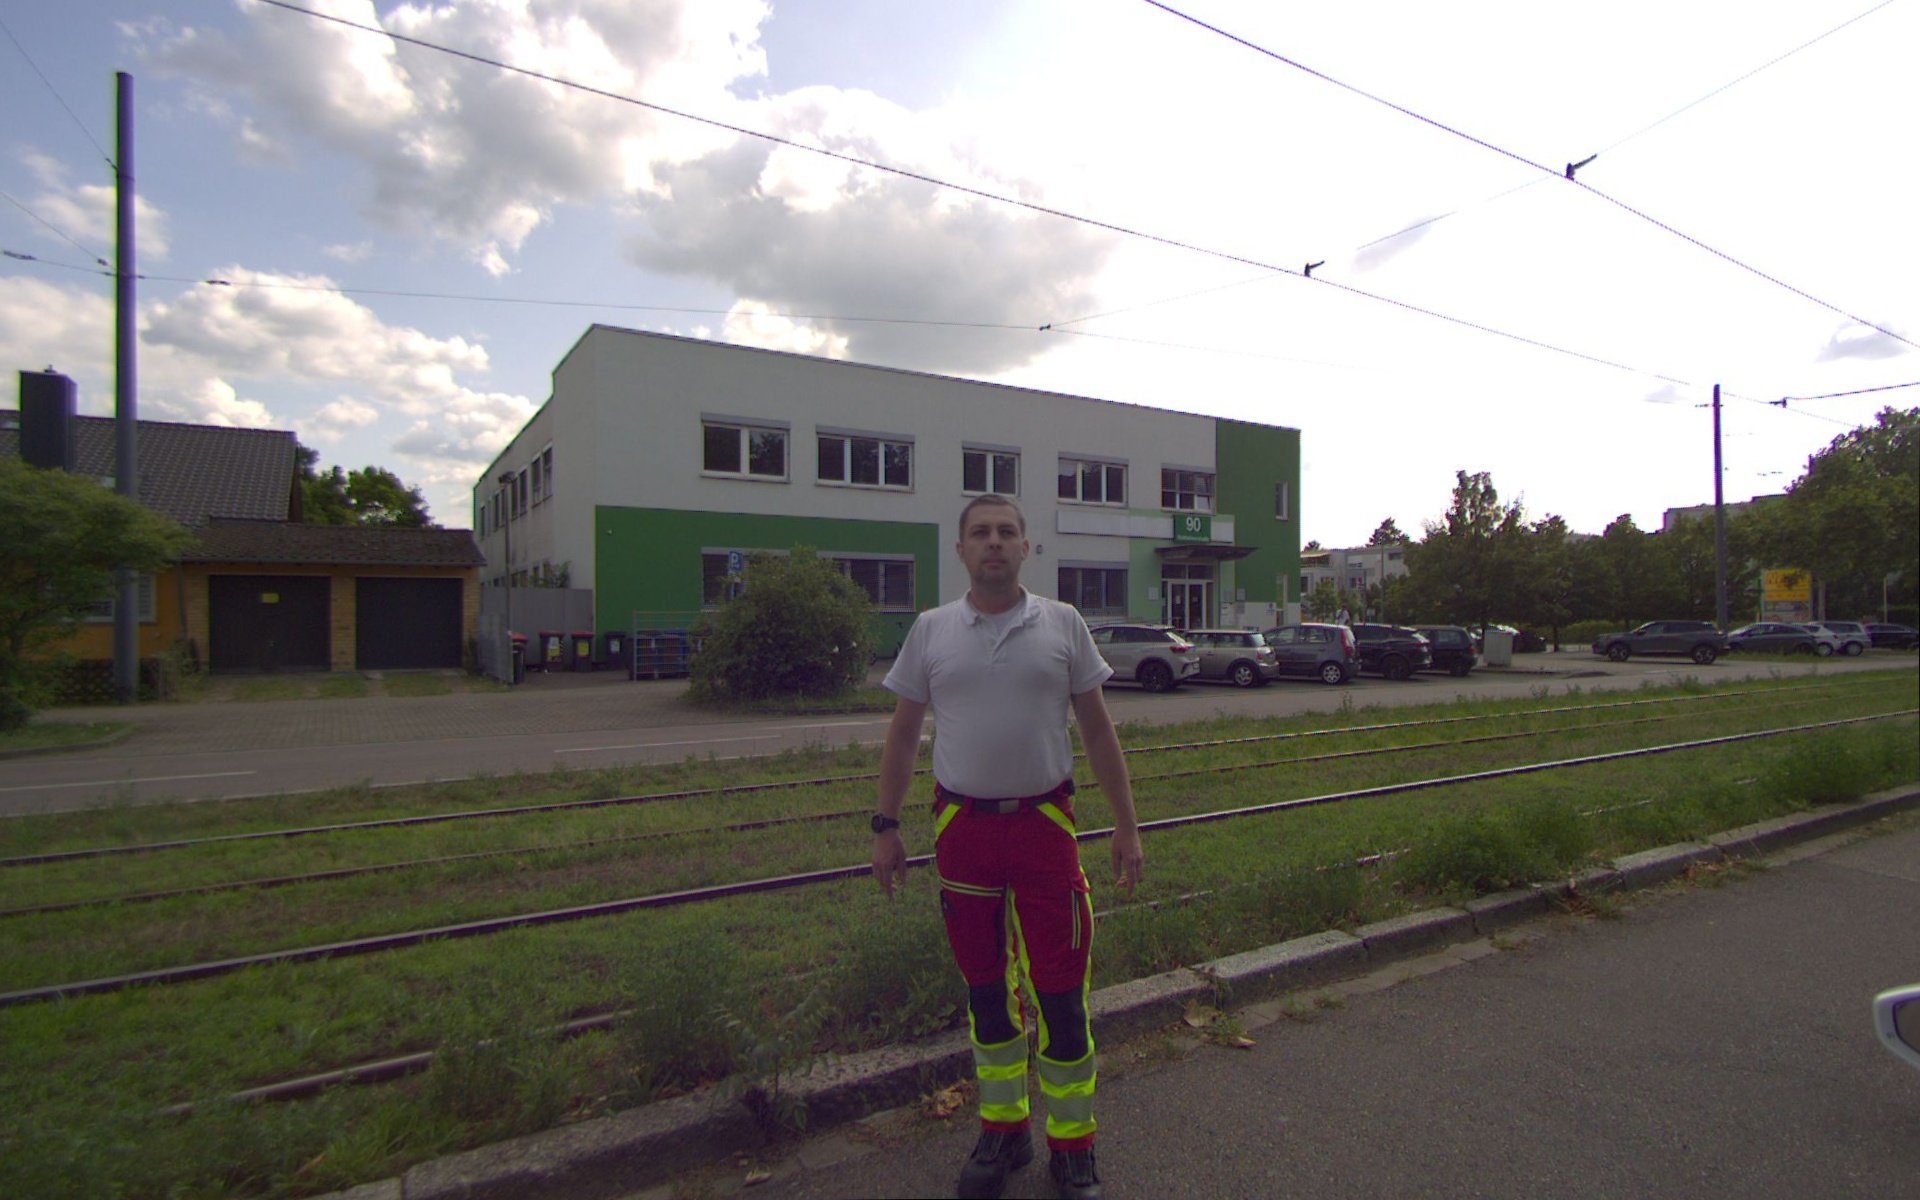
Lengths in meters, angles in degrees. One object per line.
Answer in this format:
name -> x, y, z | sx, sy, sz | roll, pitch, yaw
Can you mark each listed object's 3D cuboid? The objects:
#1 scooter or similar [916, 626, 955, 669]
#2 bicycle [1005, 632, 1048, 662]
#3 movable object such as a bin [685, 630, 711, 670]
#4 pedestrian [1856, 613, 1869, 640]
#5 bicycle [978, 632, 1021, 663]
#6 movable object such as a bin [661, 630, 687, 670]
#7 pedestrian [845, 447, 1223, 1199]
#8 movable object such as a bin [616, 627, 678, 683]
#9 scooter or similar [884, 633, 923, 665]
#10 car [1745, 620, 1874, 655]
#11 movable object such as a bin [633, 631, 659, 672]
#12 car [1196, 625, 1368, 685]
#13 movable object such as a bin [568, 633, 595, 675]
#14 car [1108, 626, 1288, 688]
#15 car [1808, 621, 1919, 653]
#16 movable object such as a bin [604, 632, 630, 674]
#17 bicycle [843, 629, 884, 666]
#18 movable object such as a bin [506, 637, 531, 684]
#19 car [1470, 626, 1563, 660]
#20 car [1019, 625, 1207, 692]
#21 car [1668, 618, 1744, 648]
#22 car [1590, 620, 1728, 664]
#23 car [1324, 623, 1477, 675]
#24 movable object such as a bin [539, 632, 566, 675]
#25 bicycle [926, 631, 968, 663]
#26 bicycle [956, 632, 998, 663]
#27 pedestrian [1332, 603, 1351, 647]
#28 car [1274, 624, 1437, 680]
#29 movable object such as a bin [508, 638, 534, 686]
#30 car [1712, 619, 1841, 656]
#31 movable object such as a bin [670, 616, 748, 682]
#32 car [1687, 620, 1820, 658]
scooter or similar -> -0.734, 1.385, 29.672 | 1.073, 1.171, 1.306 | 2, 0, -2
bicycle -> 2.196, 1.556, 33.337 | 0.453, 0.911, 1.848 | 1, 0, -30
movable object such as a bin -> -7.307, 1.384, 27.979 | 0.558, 1.056, 0.565 | -1, 1, -31
pedestrian -> 57.088, 1.645, 63.505 | 0.597, 1.699, 0.463 | 0, -1, -33
bicycle -> 1.286, 1.537, 32.824 | 0.453, 0.911, 1.848 | 1, 0, -30
movable object such as a bin -> -7.871, 1.367, 27.662 | 0.558, 1.056, 0.565 | -1, 1, -31
pedestrian -> 0.116, 0.550, 2.518 | 0.791, 1.709, 0.850 | 0, 0, -7
movable object such as a bin -> -7.534, 1.303, 24.153 | 1.241, 1.251, 1.001 | 0, 1, -29
scooter or similar -> -1.765, 1.501, 31.046 | 0.453, 0.911, 1.726 | 1, 0, -30
car -> 39.391, 1.729, 46.701 | 4.154, 1.502, 1.882 | 1, 0, 23
movable object such as a bin -> -8.533, 1.395, 27.270 | 0.558, 1.056, 0.565 | -1, 1, -31
car -> 8.759, 1.460, 27.377 | 4.160, 1.501, 1.880 | -1, -2, 30
movable object such as a bin -> -9.946, 1.403, 26.398 | 0.558, 1.056, 0.565 | -1, 1, -31
car -> 6.134, 1.430, 25.967 | 4.160, 1.501, 1.880 | -1, -2, 30
car -> 46.175, 1.867, 51.161 | 4.151, 1.502, 1.883 | 1, 0, 19
movable object such as a bin -> -9.192, 1.408, 26.896 | 0.558, 1.056, 0.565 | -1, 1, -31
bicycle -> -2.899, 1.410, 30.067 | 0.453, 0.999, 1.848 | 1, 0, -30
movable object such as a bin -> -10.394, 1.420, 23.633 | 0.474, 1.056, 0.491 | -1, 1, -31
car -> 29.187, 2.246, 52.822 | 1.755, 1.586, 3.970 | 2, 0, -28
car -> 3.696, 1.371, 24.306 | 4.155, 1.501, 1.882 | -1, -1, 25
car -> 48.500, 2.095, 65.433 | 1.960, 1.773, 4.000 | 1, 0, 0
car -> 26.203, 1.532, 37.803 | 4.164, 1.502, 1.878 | 1, -1, 34
car -> 13.574, 1.480, 30.979 | 4.160, 1.501, 1.880 | -1, -2, 30
movable object such as a bin -> -10.554, 1.376, 25.996 | 0.558, 1.056, 0.565 | -1, 1, -31
bicycle -> -0.420, 1.485, 31.737 | 0.453, 0.911, 1.848 | 1, 0, -30
bicycle -> 0.526, 1.514, 32.360 | 0.453, 0.911, 1.848 | 1, 0, -30
pedestrian -> 15.916, 1.039, 41.955 | 0.503, 1.852, 0.543 | 0, -1, -33
car -> 11.375, 1.472, 28.930 | 4.160, 1.501, 1.880 | -1, -2, 30
movable object such as a bin -> -10.114, 1.426, 23.152 | 0.476, 1.056, 0.502 | -1, 1, -31
car -> 36.736, 1.660, 45.327 | 4.154, 1.502, 1.882 | 1, 0, 23
movable object such as a bin -> -6.221, 1.179, 24.916 | 1.691, 1.540, 1.001 | 0, 1, -29
car -> 34.383, 1.669, 43.658 | 4.154, 1.502, 1.882 | 1, 0, 23
